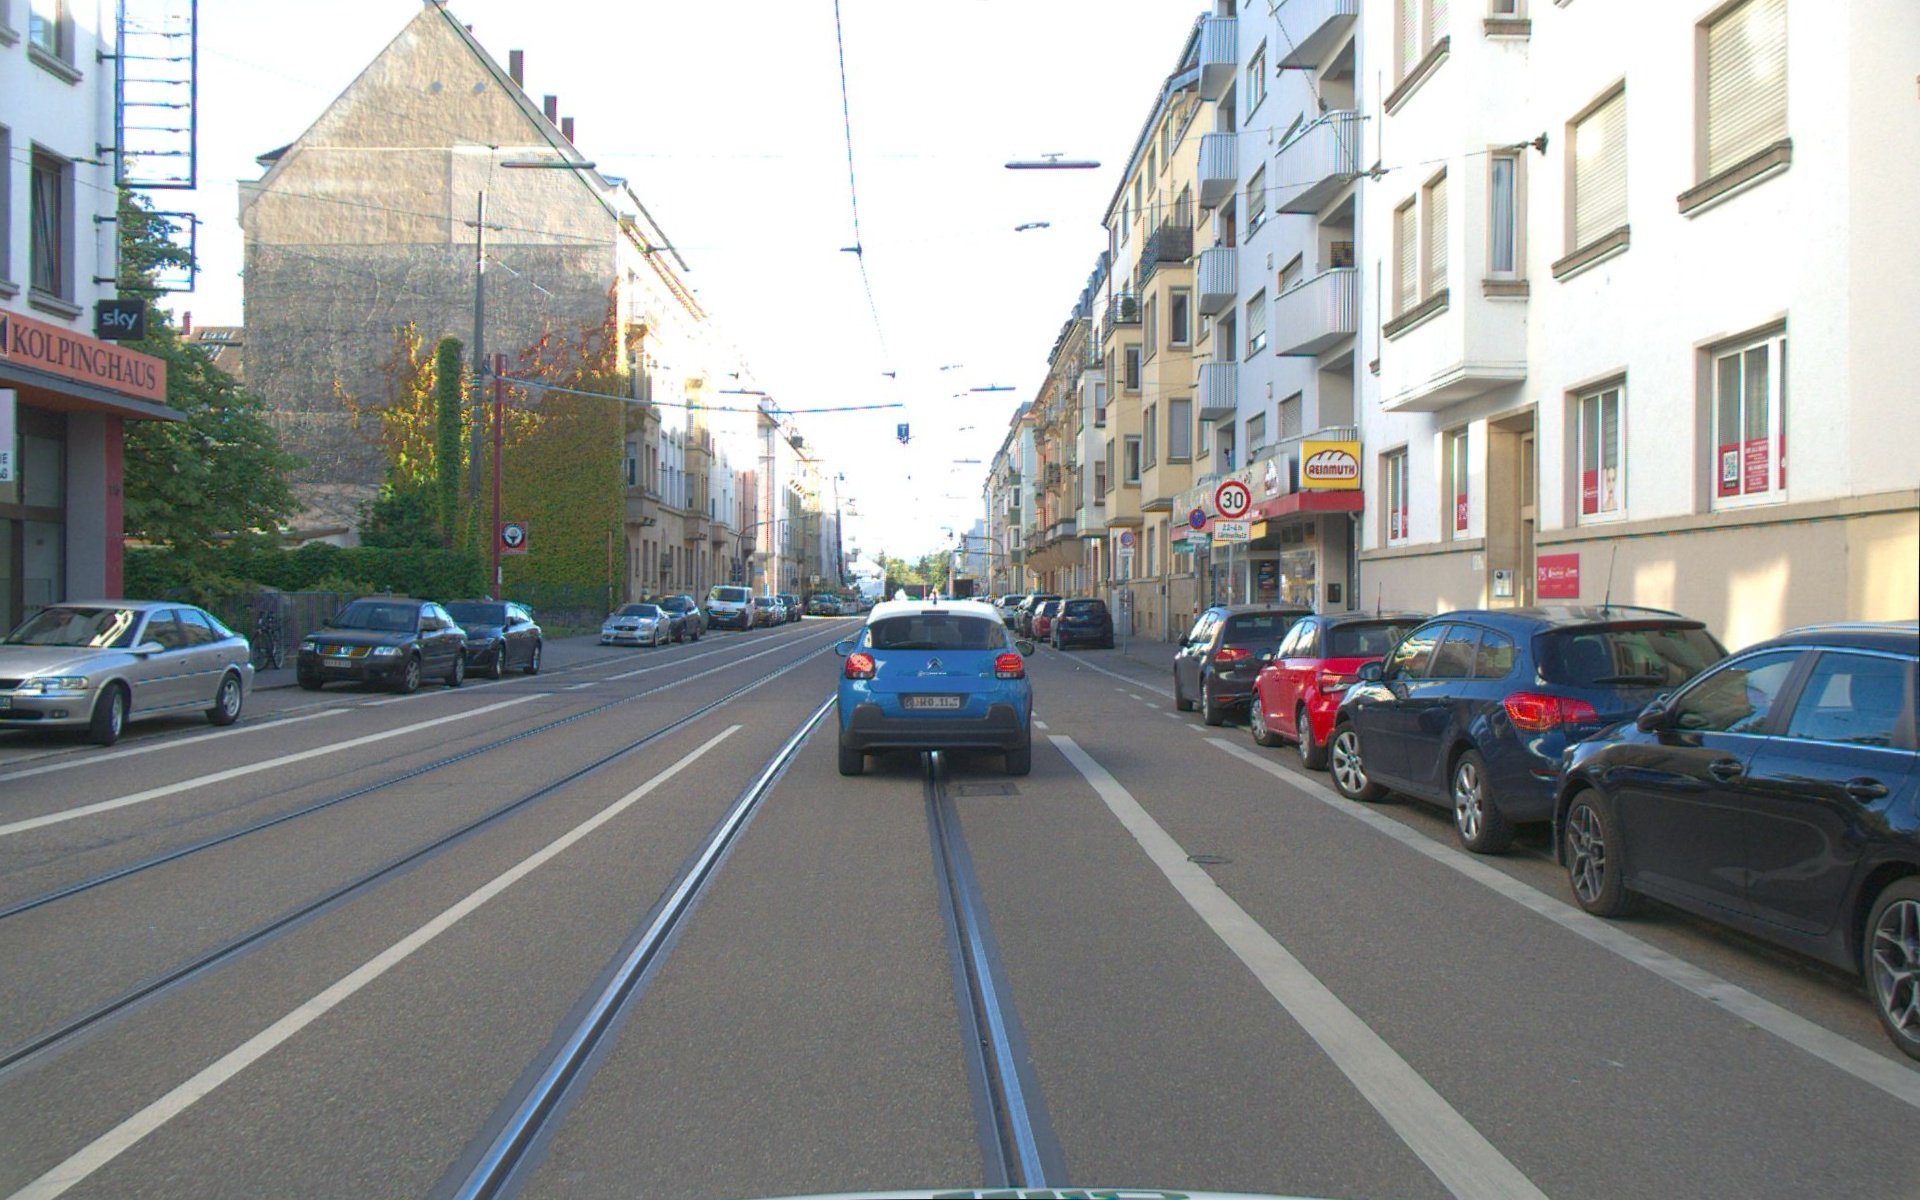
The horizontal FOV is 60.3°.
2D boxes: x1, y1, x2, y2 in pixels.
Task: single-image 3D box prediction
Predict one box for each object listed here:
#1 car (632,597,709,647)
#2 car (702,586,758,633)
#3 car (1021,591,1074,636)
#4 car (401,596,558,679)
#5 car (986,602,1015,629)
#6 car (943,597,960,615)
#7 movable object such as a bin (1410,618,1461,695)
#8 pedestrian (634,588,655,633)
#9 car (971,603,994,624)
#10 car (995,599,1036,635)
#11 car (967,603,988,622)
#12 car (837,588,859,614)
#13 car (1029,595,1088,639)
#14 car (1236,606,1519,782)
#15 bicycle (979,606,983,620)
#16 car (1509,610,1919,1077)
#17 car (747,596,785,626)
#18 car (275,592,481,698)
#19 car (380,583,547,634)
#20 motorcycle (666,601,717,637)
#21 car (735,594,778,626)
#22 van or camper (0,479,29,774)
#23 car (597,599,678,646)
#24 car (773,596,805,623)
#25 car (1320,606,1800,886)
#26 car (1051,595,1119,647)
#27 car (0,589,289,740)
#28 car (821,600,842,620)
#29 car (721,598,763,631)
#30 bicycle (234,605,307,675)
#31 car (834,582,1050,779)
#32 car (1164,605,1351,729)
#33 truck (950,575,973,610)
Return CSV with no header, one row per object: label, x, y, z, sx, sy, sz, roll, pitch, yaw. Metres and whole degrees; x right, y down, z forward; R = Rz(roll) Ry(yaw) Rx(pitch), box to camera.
car,-9.981,0.733,57.346,1.746,1.593,4.610,2,0,1
car,-10.437,0.431,75.494,1.933,1.983,5.249,2,0,-2
car,3.414,0.506,65.208,1.821,1.695,4.561,0,0,0
car,-9.509,0.703,33.131,1.747,1.471,4.840,2,0,-1
car,2.516,0.970,103.238,1.717,1.622,3.729,0,0,0
car,-0.933,0.651,182.020,1.784,1.927,3.999,1,0,-1
movable object such as a bin,6.735,0.794,23.448,0.547,1.075,0.554,1,0,-2
pedestrian,-12.636,0.425,66.265,0.666,1.754,0.616,1,0,-1
car,1.853,1.113,136.994,1.747,1.660,3.999,0,0,-1
car,2.722,0.824,81.810,1.805,1.720,4.504,0,0,-1
car,1.479,1.088,142.719,1.747,1.603,4.325,0,0,-1
car,-11.566,0.126,171.393,2.102,2.518,4.977,2,0,-3
car,3.458,0.596,58.896,1.821,1.481,4.709,0,0,0
car,4.054,0.843,16.730,1.819,1.498,3.988,-2,0,0
bicycle,1.680,1.051,131.757,0.345,1.063,1.728,0,0,1
car,4.113,0.846,6.996,1.820,1.534,4.503,-2,0,-3
car,-10.627,0.590,90.875,1.736,1.574,4.363,2,0,-3
car,-9.325,0.669,26.922,1.747,1.507,4.698,2,0,-2
car,-15.774,0.295,52.661,4.740,1.544,1.976,1,0,-35
motorcycle,-10.370,0.742,63.995,0.867,1.375,1.953,1,0,31
car,-10.492,0.511,85.406,1.747,1.550,4.358,2,0,-2
van or camper,-9.121,0.181,11.229,2.128,2.510,6.230,2,0,-2
car,-10.079,0.691,51.990,1.747,1.337,4.220,2,0,-1
car,-10.919,0.586,106.032,1.748,1.634,4.394,2,0,-3
car,3.880,0.842,11.518,1.819,1.534,4.095,-2,0,0
car,3.766,0.622,50.389,1.683,1.517,4.001,-1,0,-1
car,-9.293,0.631,18.436,1.747,1.423,4.445,2,0,0
car,-11.494,0.873,148.057,1.748,1.655,4.606,2,0,-3
car,-10.655,0.697,81.002,1.570,1.498,3.645,2,0,-1
bicycle,-12.283,0.692,29.505,0.430,1.195,2.050,1,0,0
car,-0.173,0.660,15.438,1.700,1.534,3.991,2,0,-1
car,3.843,0.808,22.042,1.675,1.432,4.358,-2,0,0
truck,0.153,-0.886,207.840,2.794,4.154,11.270,0,0,0
